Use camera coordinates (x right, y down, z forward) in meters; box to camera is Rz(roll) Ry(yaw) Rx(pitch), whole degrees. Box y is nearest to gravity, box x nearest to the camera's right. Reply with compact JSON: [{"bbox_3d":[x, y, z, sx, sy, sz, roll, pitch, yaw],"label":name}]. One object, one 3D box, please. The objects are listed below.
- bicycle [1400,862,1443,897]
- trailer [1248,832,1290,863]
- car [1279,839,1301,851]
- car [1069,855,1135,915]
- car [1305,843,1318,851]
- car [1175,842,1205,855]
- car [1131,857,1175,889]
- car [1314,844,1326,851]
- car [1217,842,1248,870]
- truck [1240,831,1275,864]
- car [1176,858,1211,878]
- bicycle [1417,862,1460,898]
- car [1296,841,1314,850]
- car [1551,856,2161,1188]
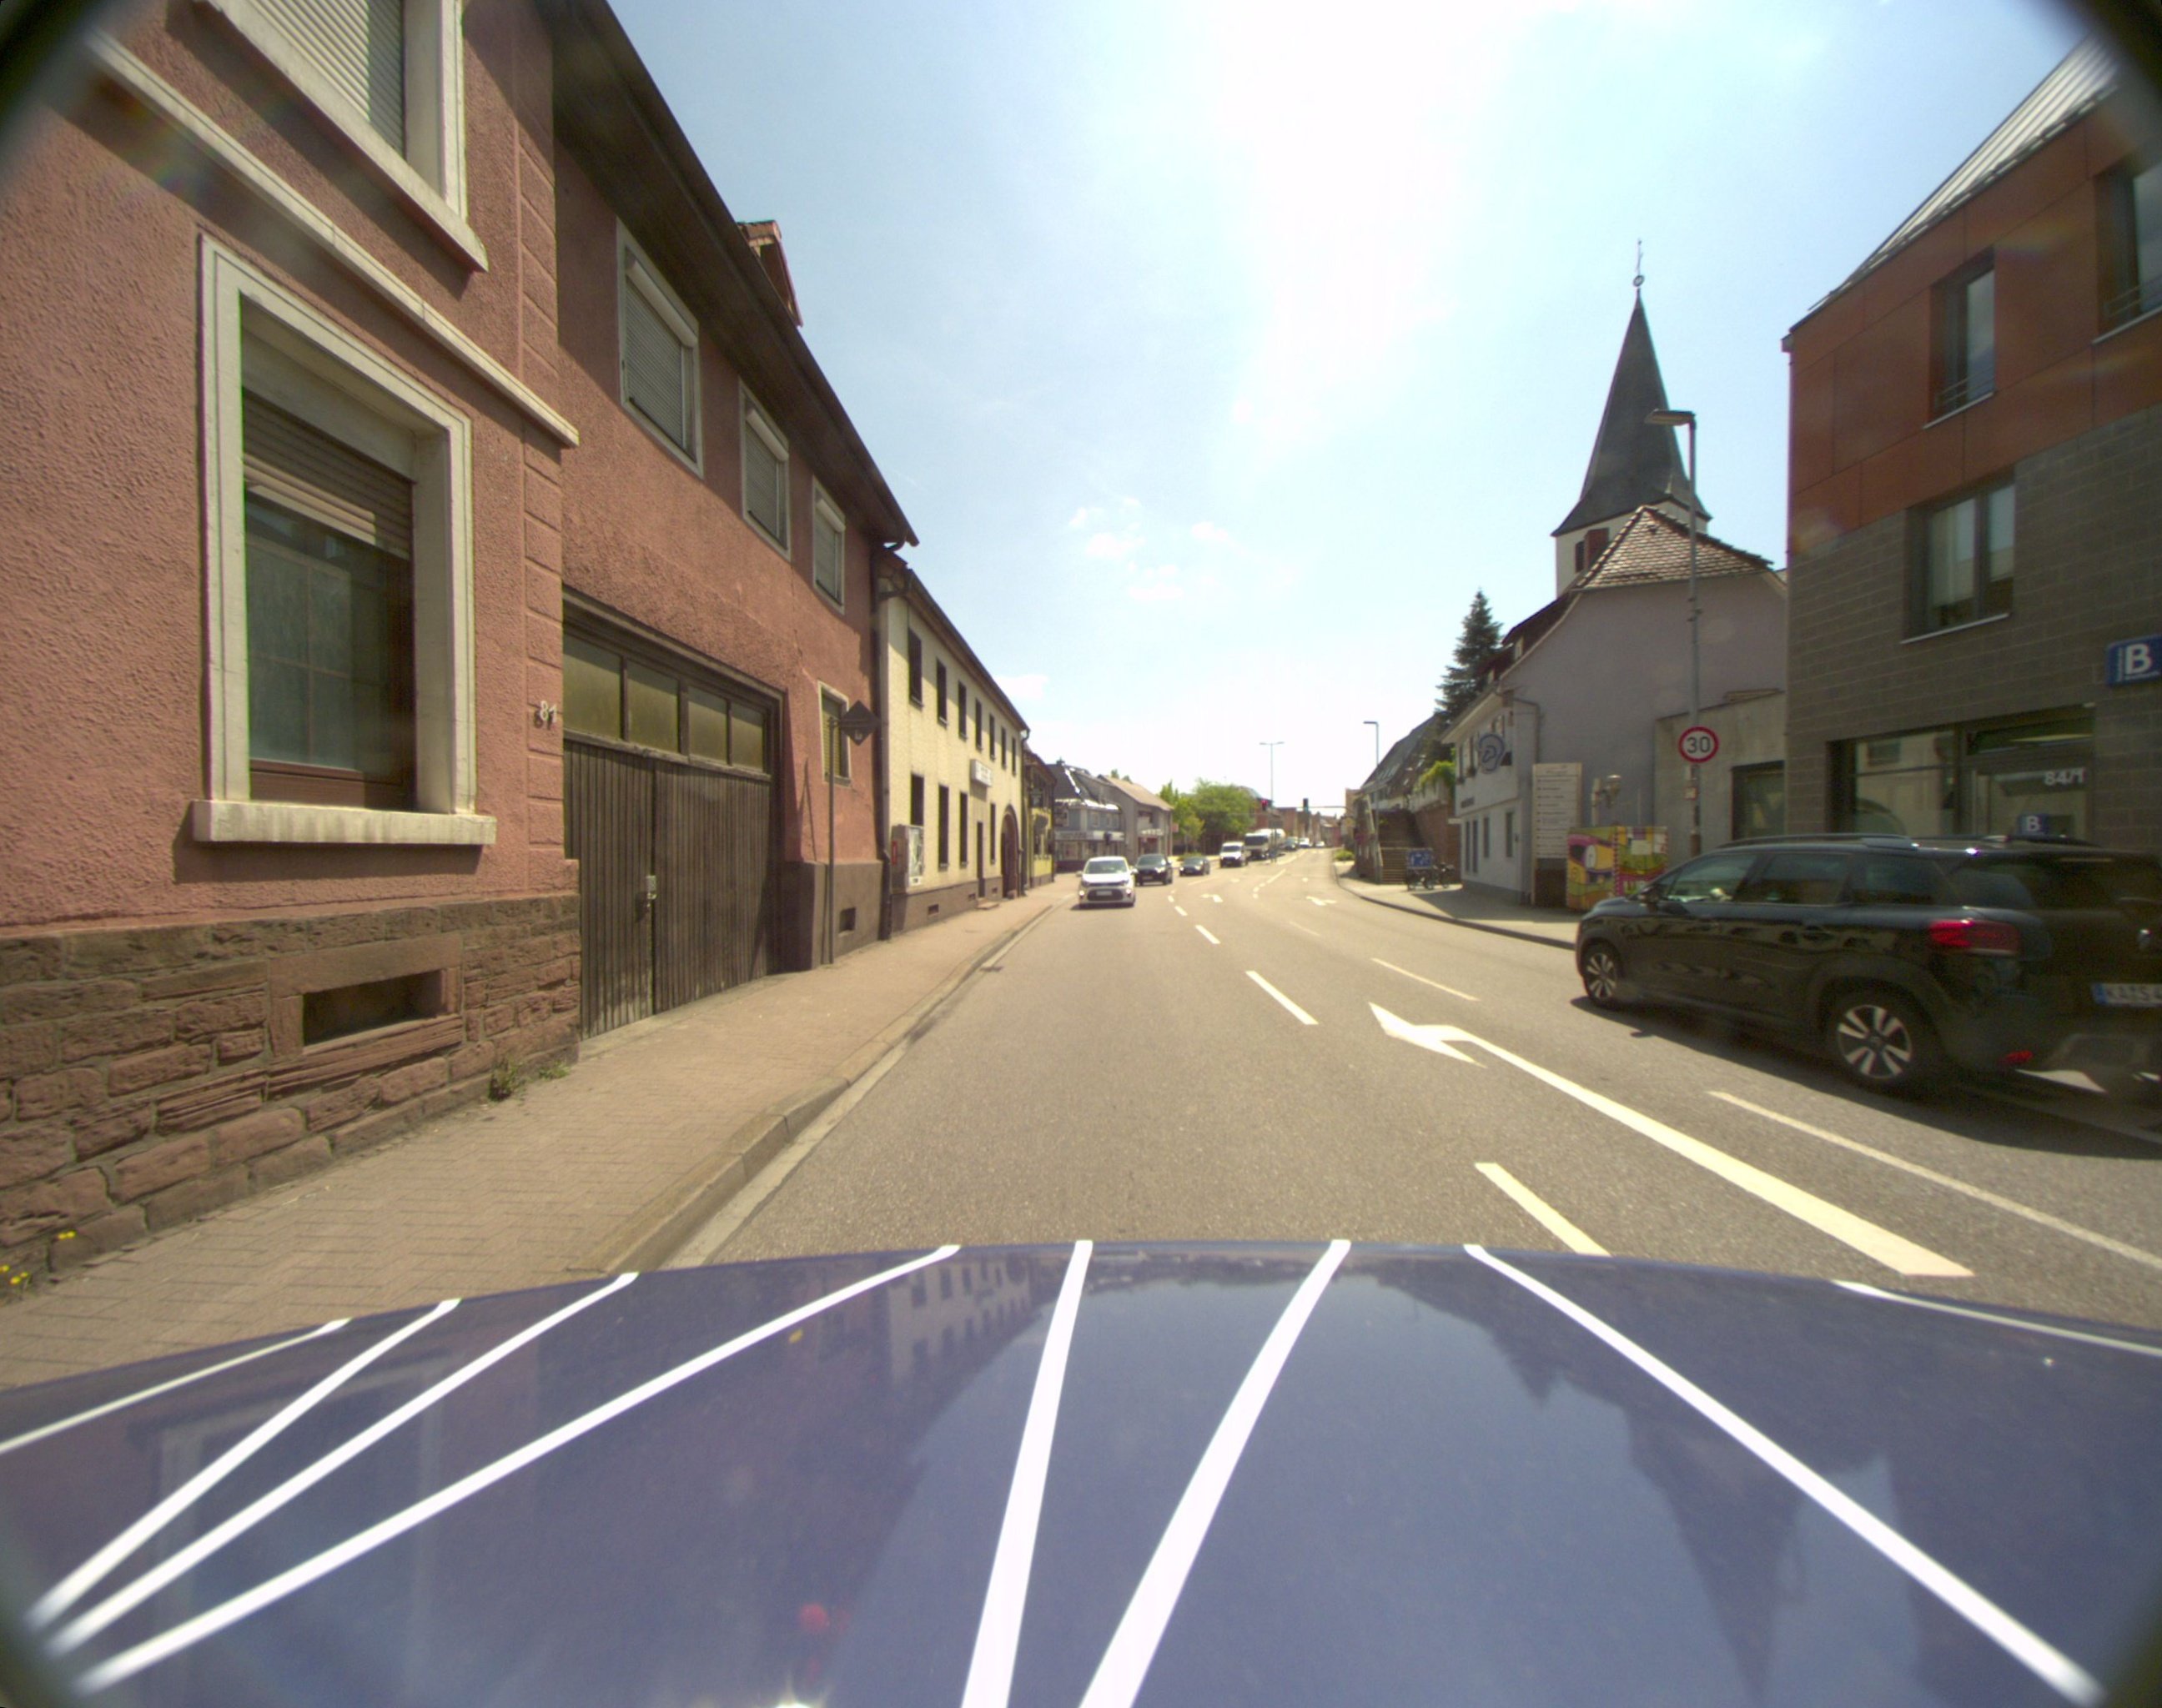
[{"bbox_3d":[13.246,0.991,29.536,1.834,1.241,0.577,-3,-1,-34],"label":"bicycle"},{"bbox_3d":[23.040,-0.809,92.620,2.832,3.549,10.984,0,0,25],"label":"trailer"},{"bbox_3d":[29.343,-1.270,106.518,2.008,1.621,4.586,0,0,28],"label":"car"},{"bbox_3d":[0.735,0.860,22.969,1.724,1.541,4.304,-2,0,5],"label":"car"},{"bbox_3d":[46.246,-1.437,152.598,2.008,1.621,4.585,0,0,23],"label":"car"},{"bbox_3d":[15.133,-0.777,105.559,3.755,1.701,1.727,-2,1,17],"label":"car"},{"bbox_3d":[3.878,0.967,40.357,1.723,1.541,4.307,-2,0,12],"label":"car"},{"bbox_3d":[55.048,-1.489,174.972,2.007,1.621,4.586,0,0,28],"label":"car"},{"bbox_3d":[14.758,0.182,73.708,2.172,2.549,4.831,0,0,21],"label":"car"},{"bbox_3d":[20.140,-0.713,86.512,2.843,3.549,5.478,0,0,25],"label":"truck"},{"bbox_3d":[8.593,1.034,57.730,1.926,1.358,4.308,-2,0,18],"label":"car"},{"bbox_3d":[13.669,0.983,29.041,1.834,1.241,0.577,-3,-1,-34],"label":"bicycle"},{"bbox_3d":[40.504,-1.545,137.262,2.007,1.621,4.586,0,0,31],"label":"car"},{"bbox_3d":[5.632,0.854,5.829,1.673,1.648,4.018,0,0,2],"label":"car"}]
